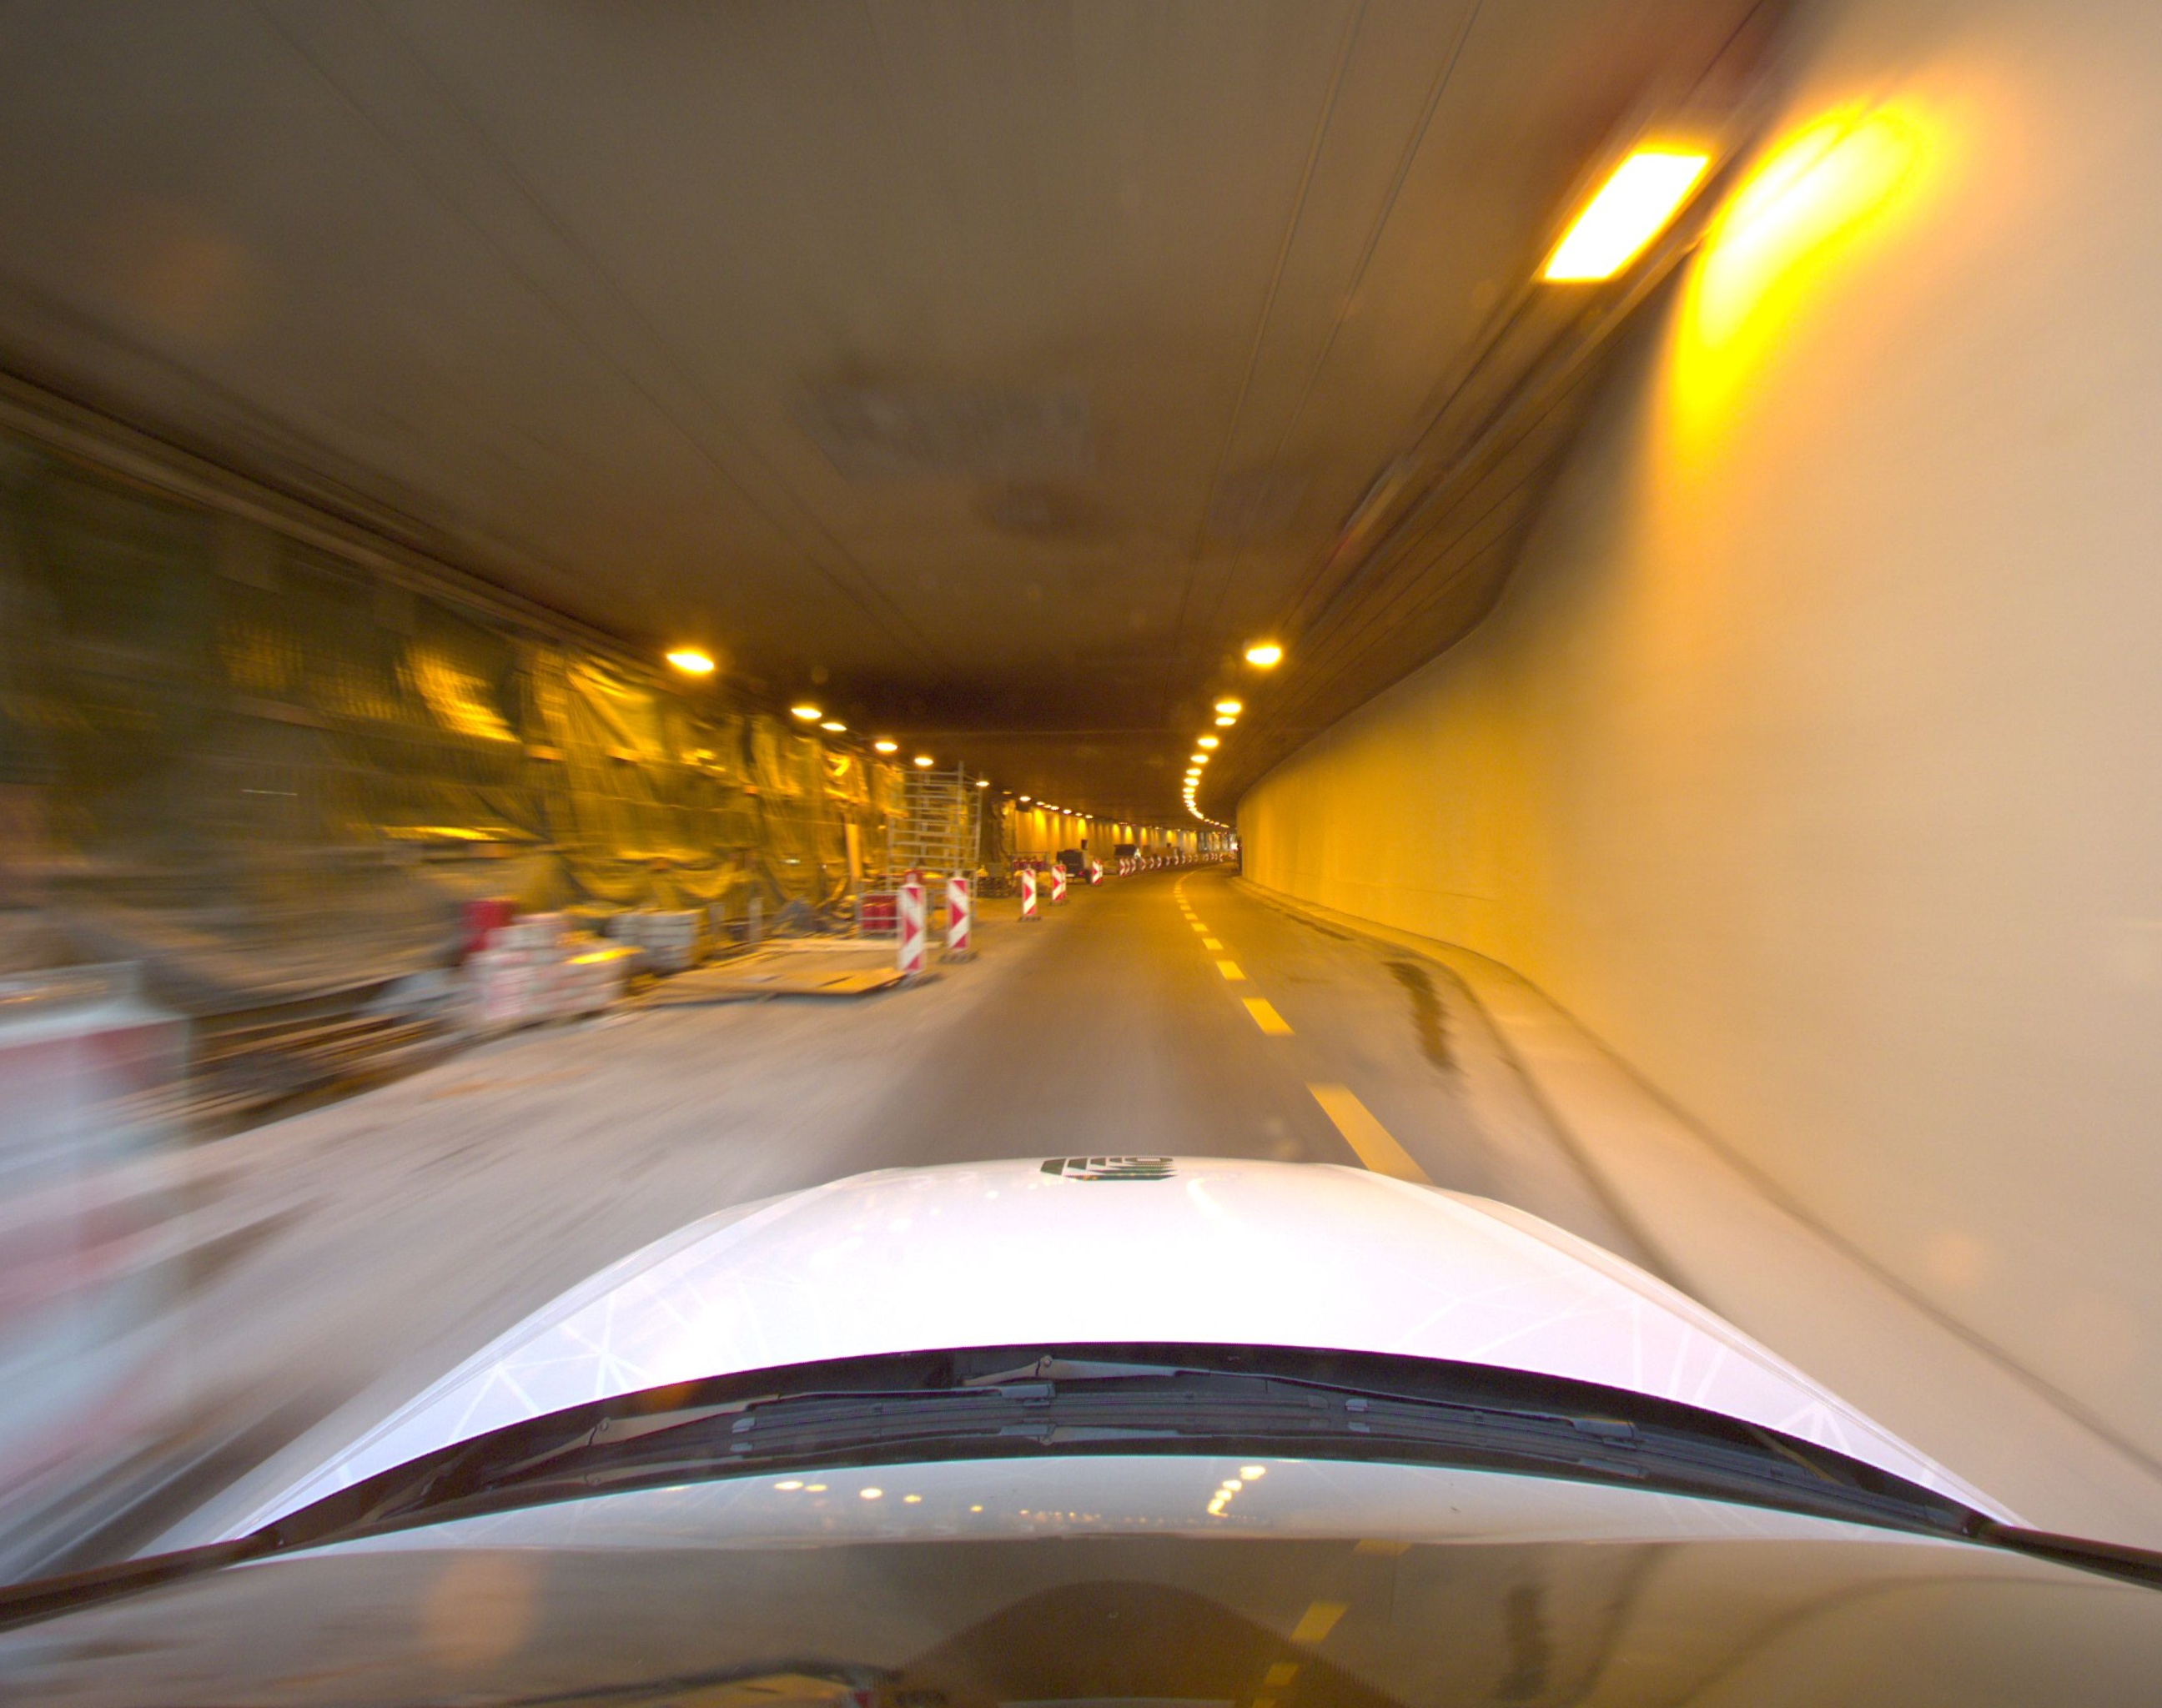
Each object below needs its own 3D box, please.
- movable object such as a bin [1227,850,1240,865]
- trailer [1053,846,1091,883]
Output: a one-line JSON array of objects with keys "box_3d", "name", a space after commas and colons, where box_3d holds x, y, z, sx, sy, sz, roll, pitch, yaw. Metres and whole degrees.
[{"box_3d": [15.828, 0.335, 84.485, 1.186, 1.460, 1.611, -3, -1, 14], "name": "movable object such as a bin"}, {"box_3d": [-0.412, 0.543, 41.209, 1.572, 1.798, 2.944, 0, 0, 6], "name": "trailer"}]
